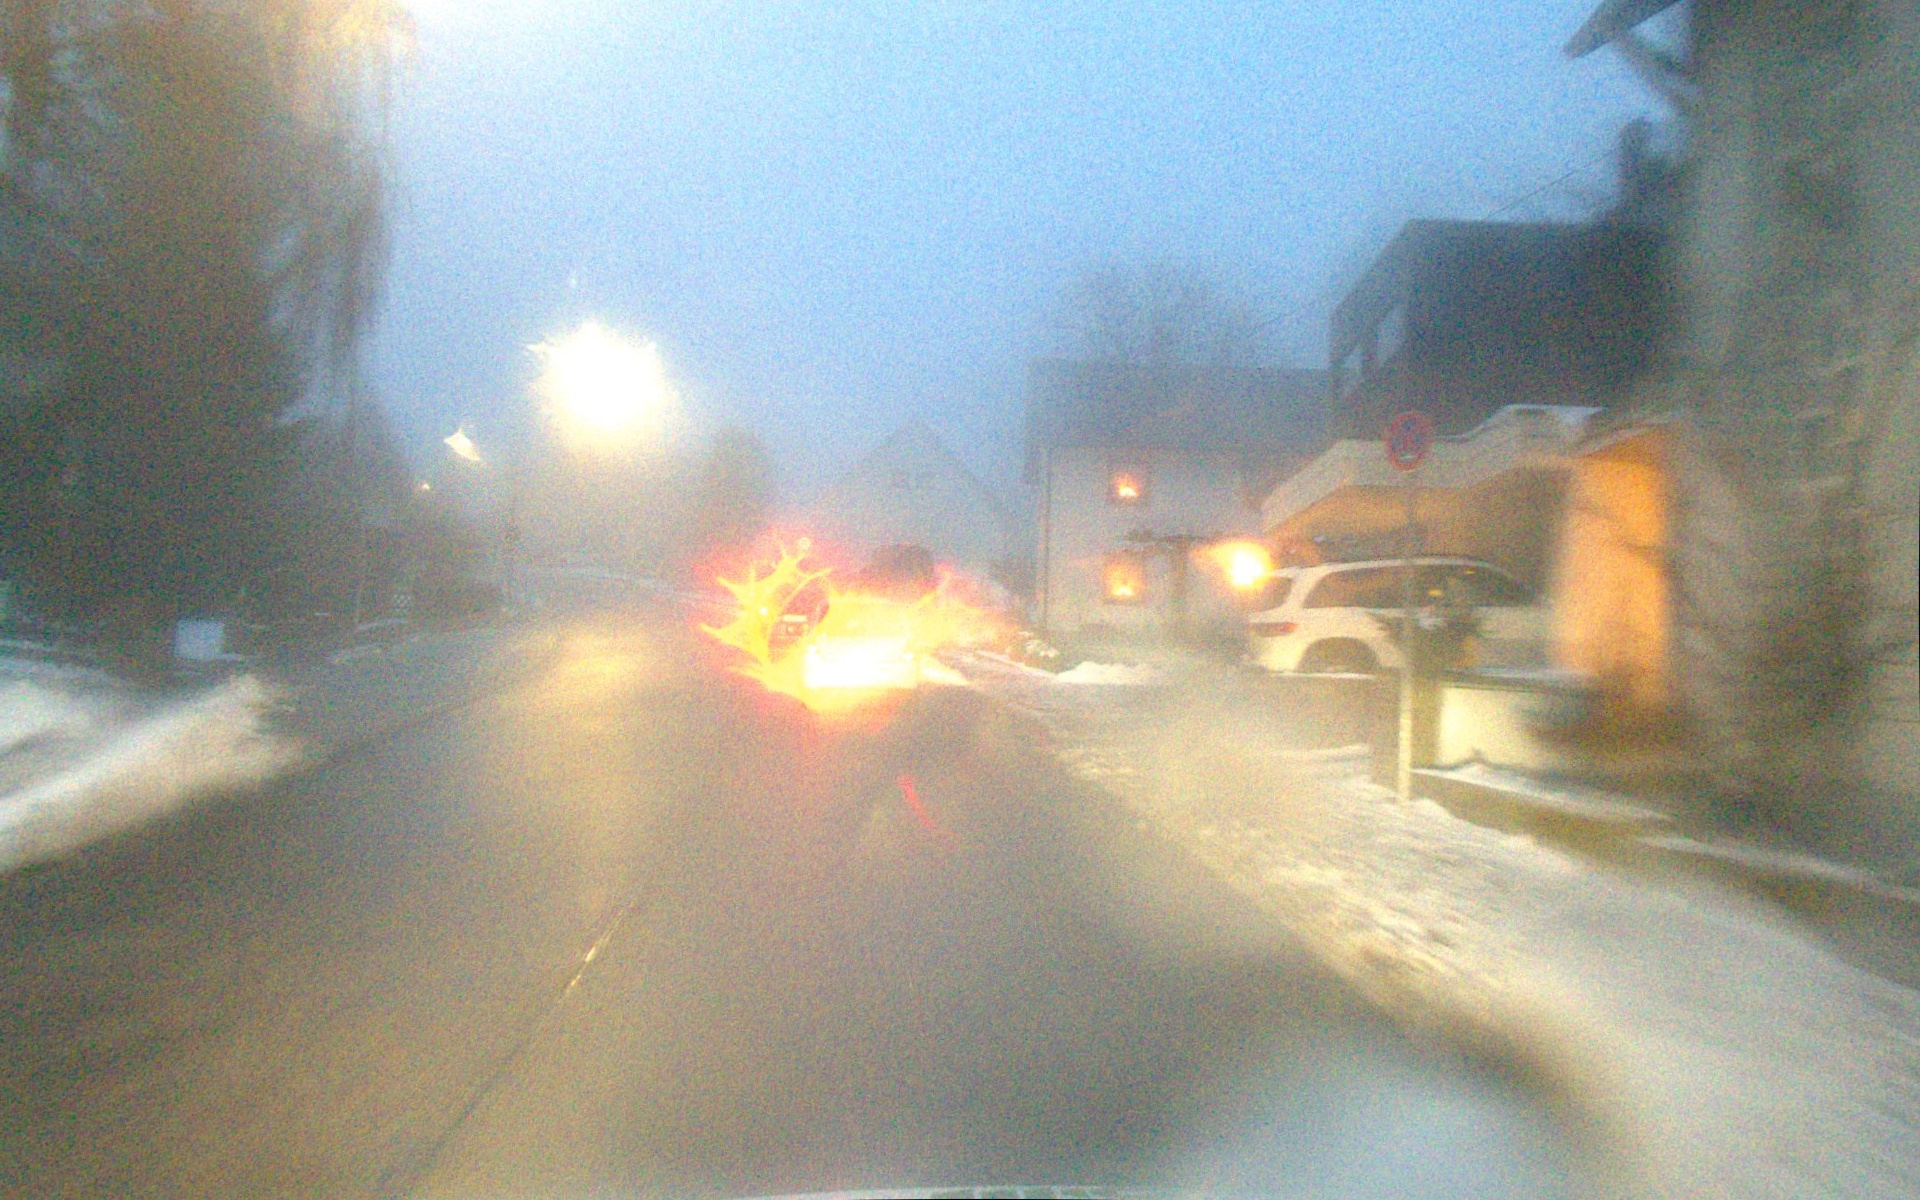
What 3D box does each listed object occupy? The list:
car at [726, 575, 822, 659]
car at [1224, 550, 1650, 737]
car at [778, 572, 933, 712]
[{"bbox_3d":[-4.188,0.377,36.727,1.957,1.767,3.870,1,-1,-9],"label":"car"},{"bbox_3d":[5.061,0.456,18.004,4.118,1.891,1.912,0,-1,2],"label":"car"},{"bbox_3d":[-1.500,0.513,23.105,1.861,1.637,3.996,5,0,-5],"label":"car"}]
